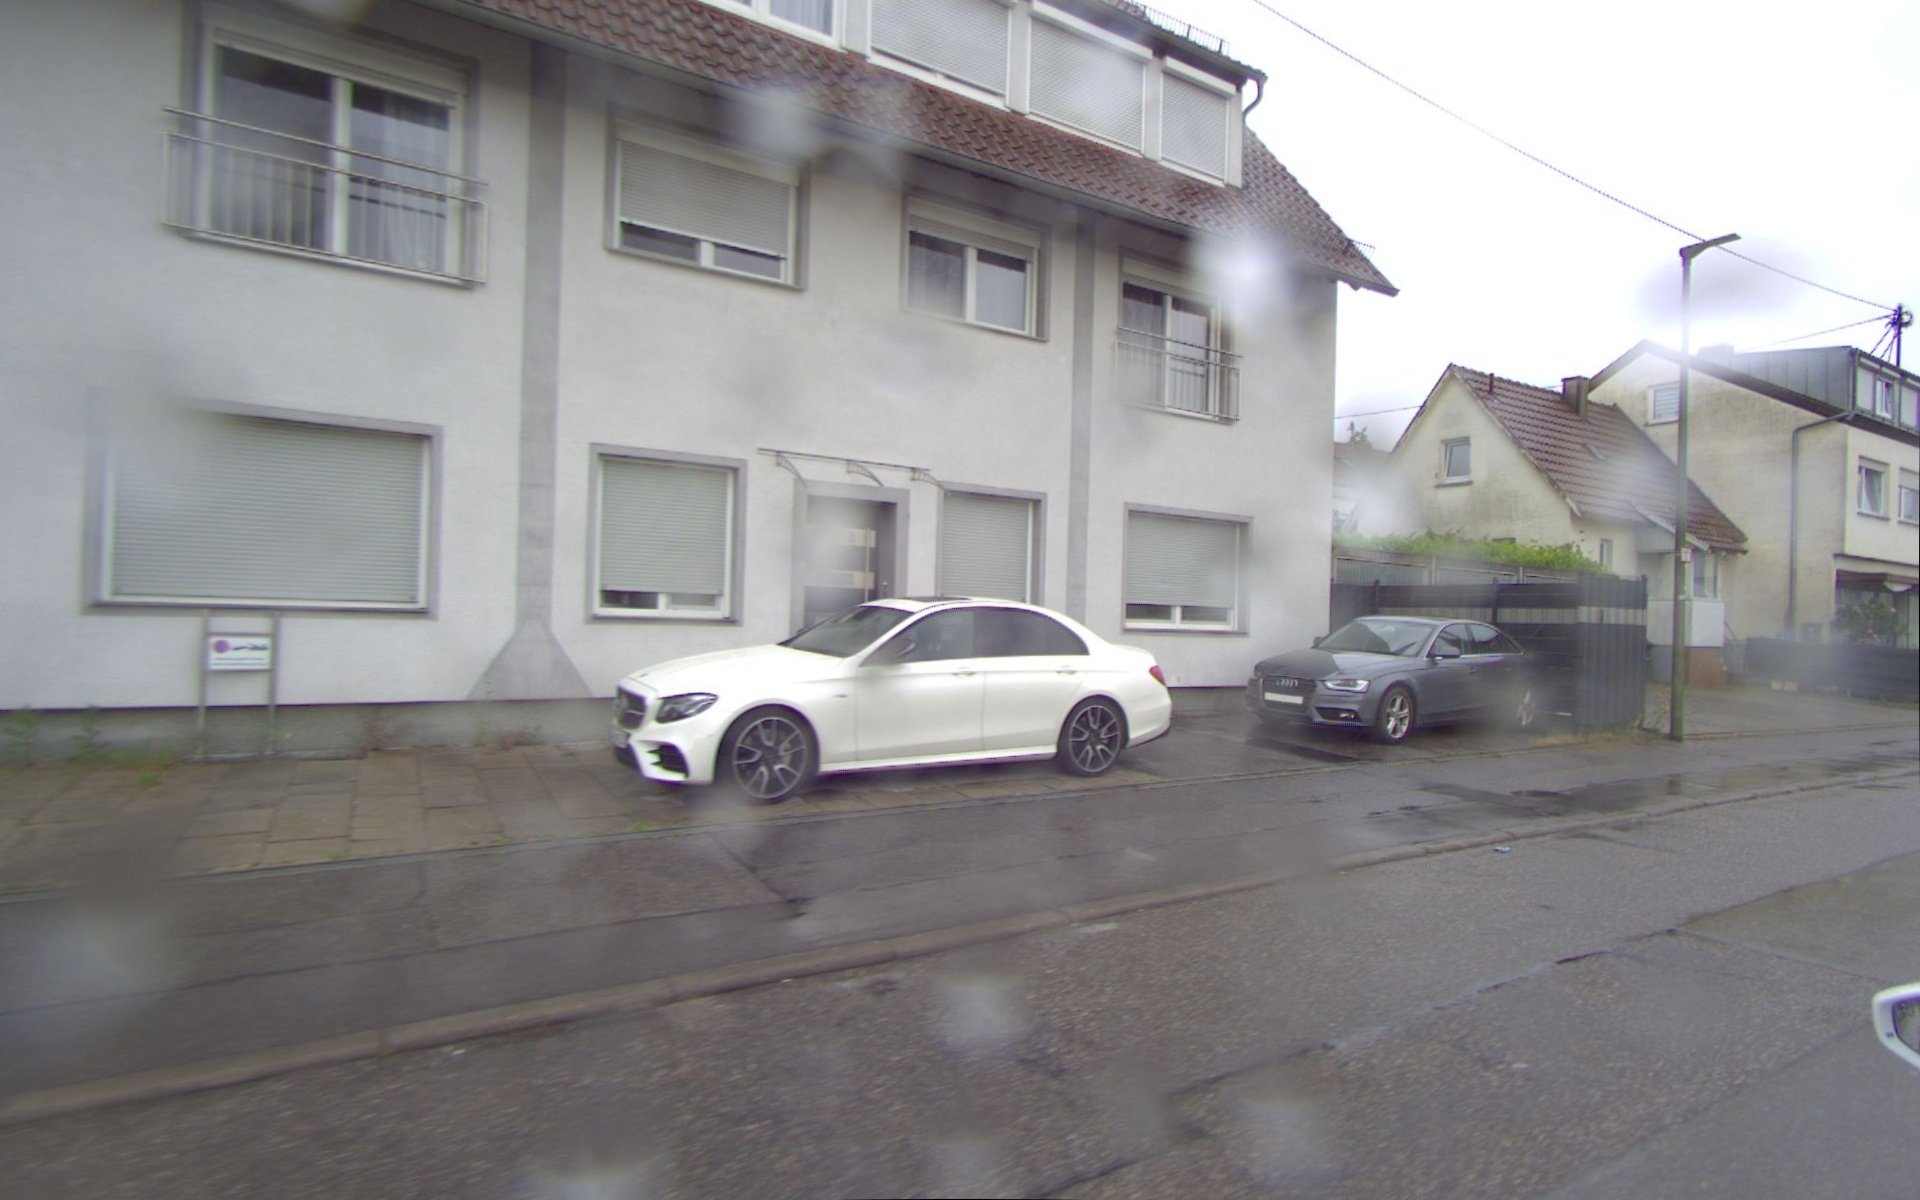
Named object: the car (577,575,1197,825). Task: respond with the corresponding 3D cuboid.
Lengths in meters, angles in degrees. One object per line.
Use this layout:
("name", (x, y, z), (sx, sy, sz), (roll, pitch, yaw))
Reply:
("car", (-0.495, 0.660, 8.494), (4.840, 1.530, 1.983), (1, 3, -32))

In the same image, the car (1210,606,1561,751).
("car", (5.341, 0.848, 12.399), (4.523, 1.387, 1.815), (1, 3, -35))
